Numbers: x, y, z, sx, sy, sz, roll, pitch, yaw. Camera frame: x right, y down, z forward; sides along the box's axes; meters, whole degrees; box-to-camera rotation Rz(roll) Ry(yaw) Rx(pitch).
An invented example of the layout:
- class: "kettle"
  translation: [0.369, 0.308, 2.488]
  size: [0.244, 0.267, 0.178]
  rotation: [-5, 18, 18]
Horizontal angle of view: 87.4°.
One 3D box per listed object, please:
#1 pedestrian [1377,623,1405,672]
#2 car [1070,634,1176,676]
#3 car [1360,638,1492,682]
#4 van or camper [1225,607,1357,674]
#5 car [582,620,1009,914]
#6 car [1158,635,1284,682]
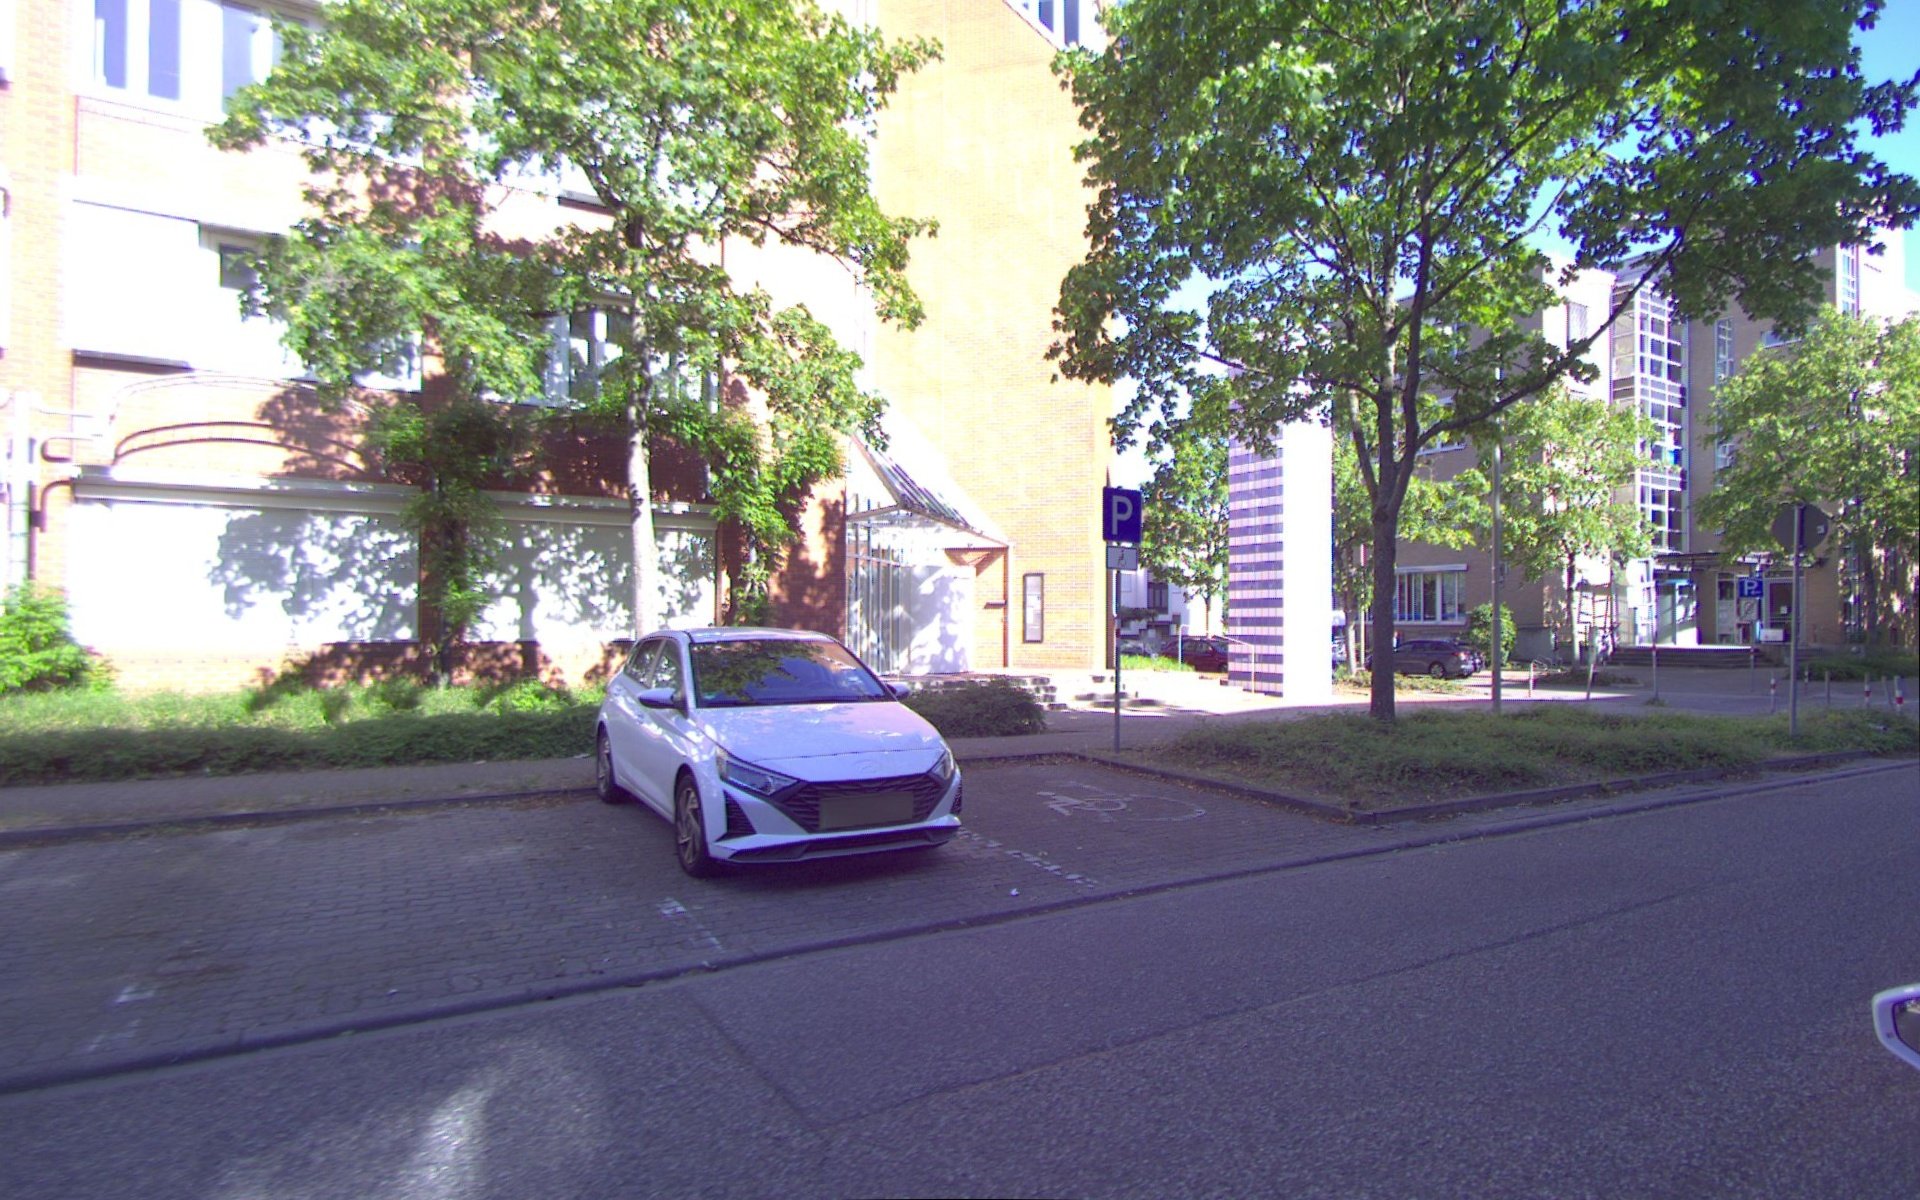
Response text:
- class: "pedestrian"
  translation: [17.882, 1.963, 41.645]
  size: [0.806, 2.040, 0.777]
  rotation: [1, -2, -39]
- class: "car"
  translation: [6.420, 2.210, 39.899]
  size: [1.977, 1.496, 4.173]
  rotation: [4, -5, -30]
- class: "car"
  translation: [17.583, 2.217, 38.094]
  size: [1.976, 1.496, 4.173]
  rotation: [-1, -2, -30]
- class: "van or camper"
  translation: [14.372, 1.756, 43.916]
  size: [2.155, 2.710, 5.343]
  rotation: [-1, -1, -31]
- class: "car"
  translation: [-1.478, 0.925, 7.443]
  size: [1.786, 1.506, 3.967]
  rotation: [1, -1, -31]
- class: "car"
  translation: [9.154, 2.087, 35.492]
  size: [1.977, 1.496, 4.173]
  rotation: [4, -5, -30]
